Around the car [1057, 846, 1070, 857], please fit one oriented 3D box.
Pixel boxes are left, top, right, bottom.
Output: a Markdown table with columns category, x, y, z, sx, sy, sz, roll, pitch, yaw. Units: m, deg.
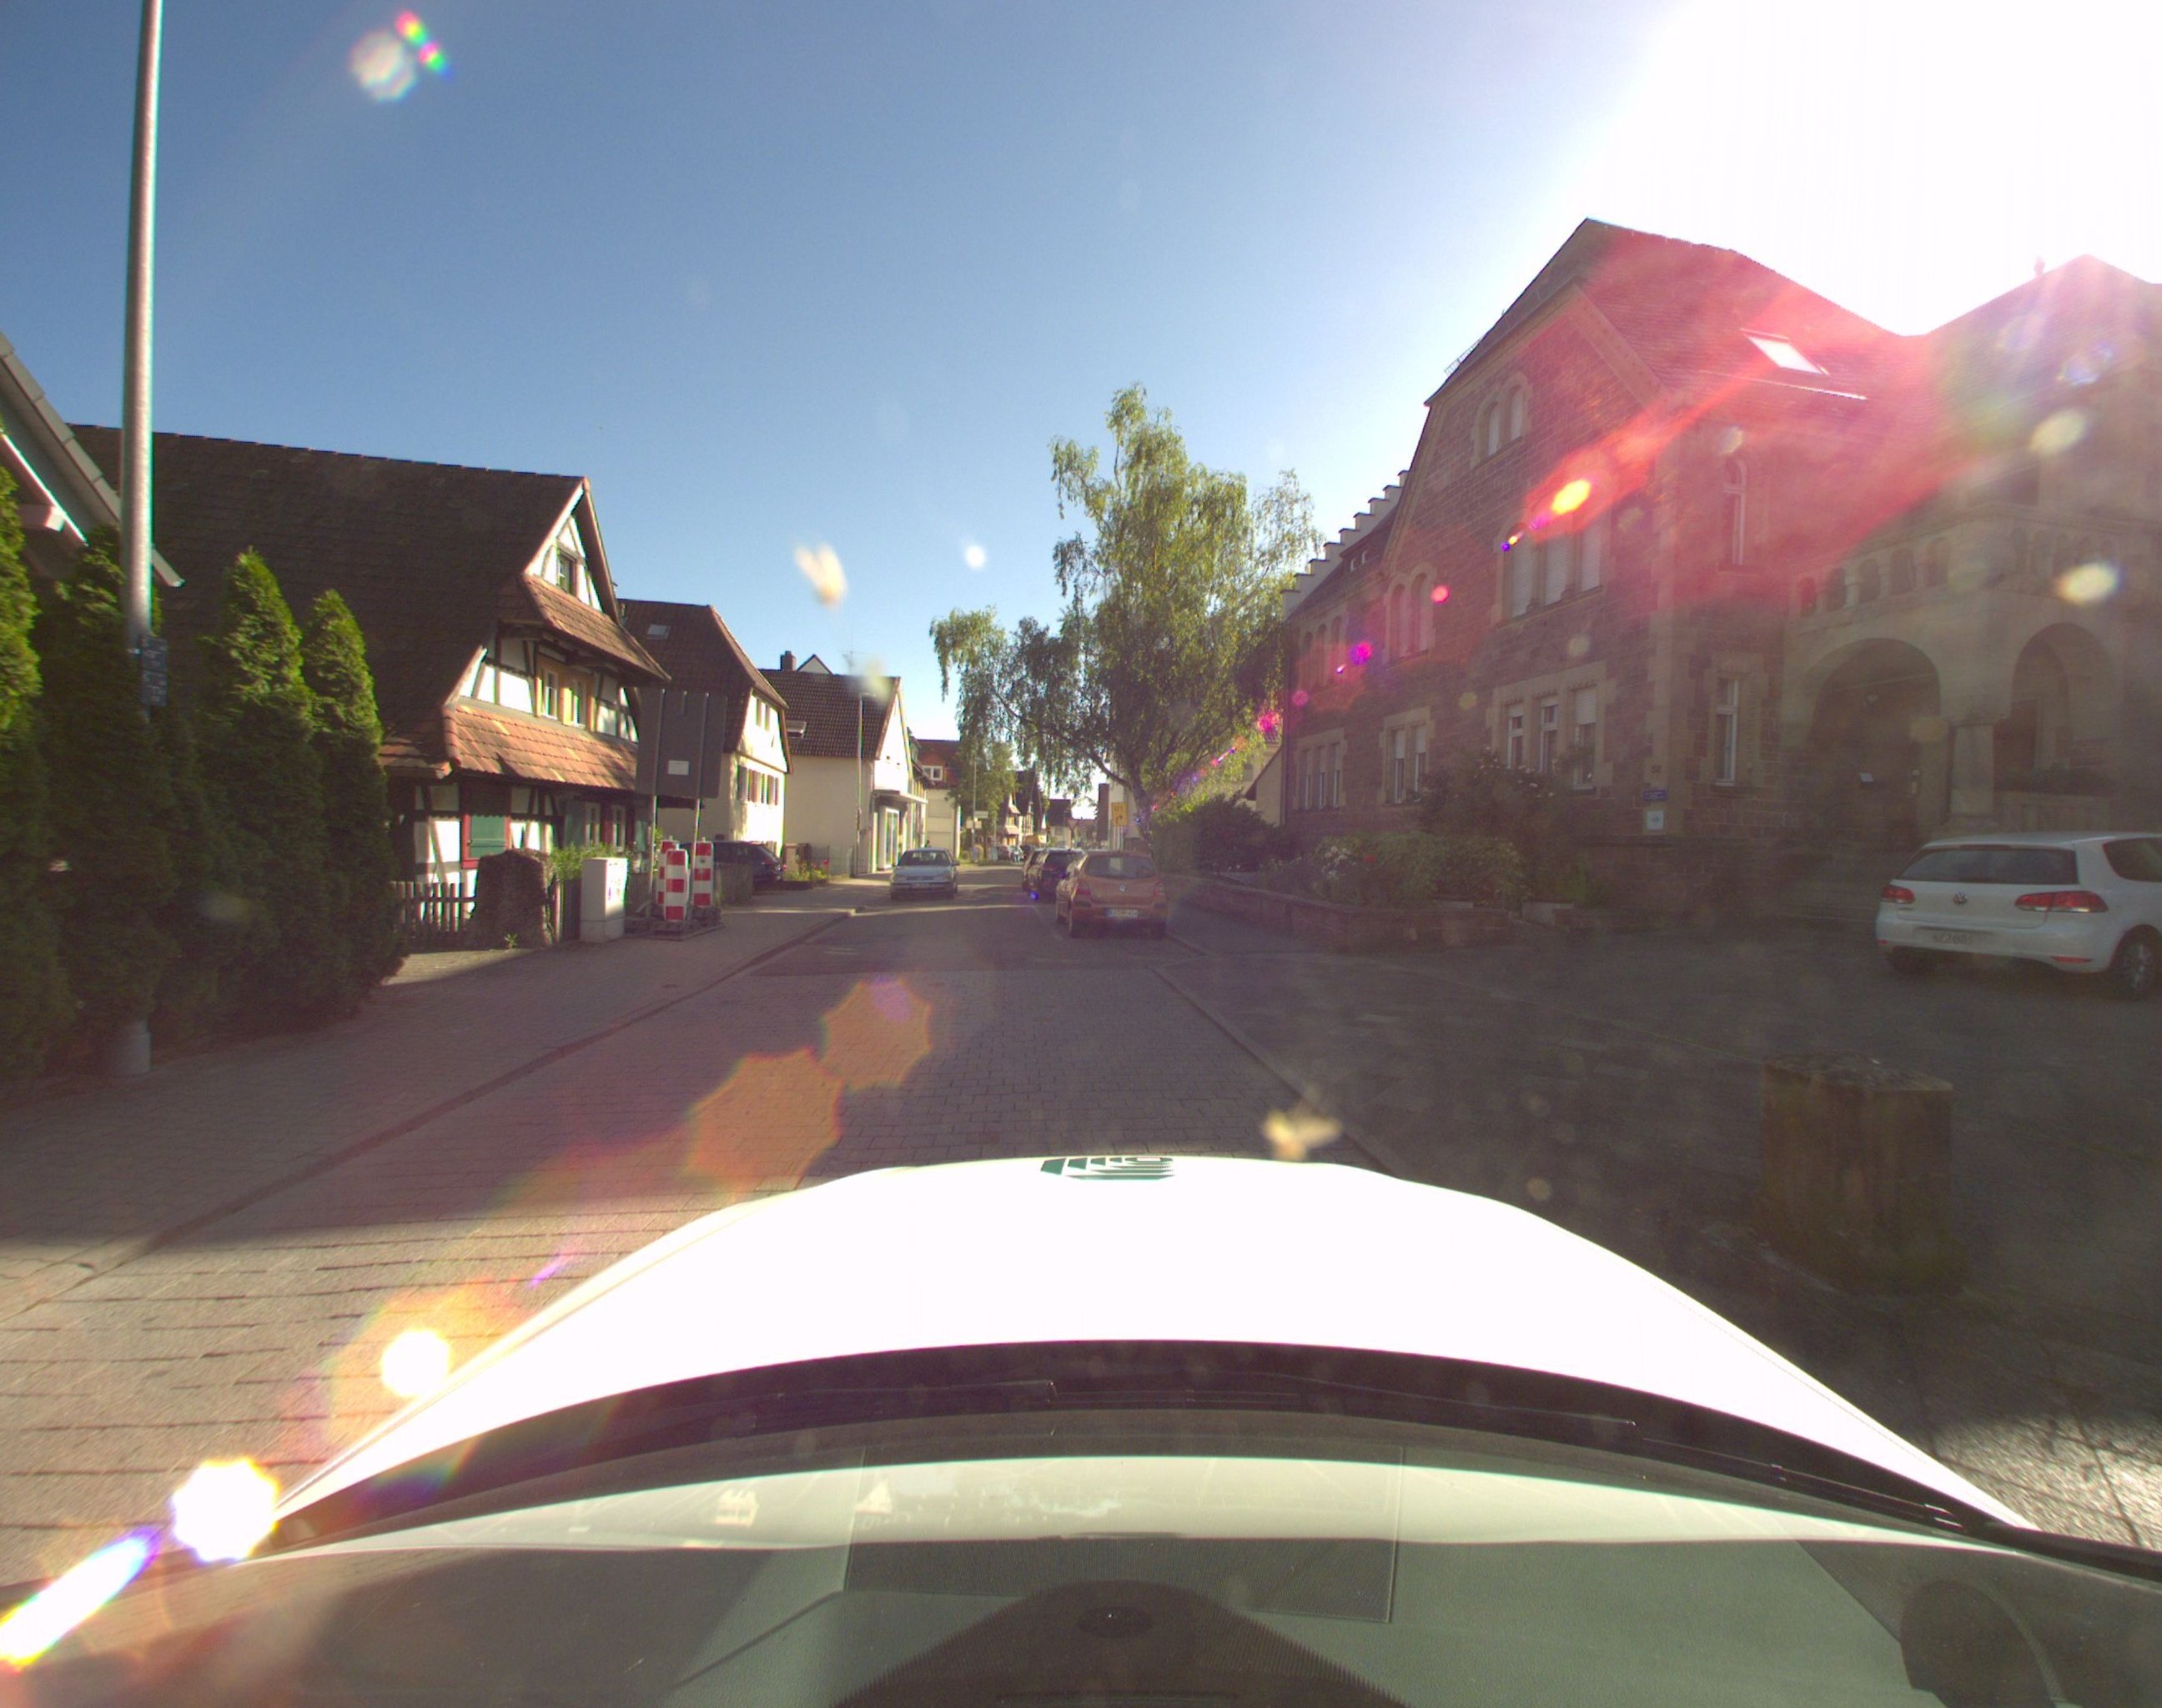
| category | x | y | z | sx | sy | sz | roll | pitch | yaw |
| --- | --- | --- | --- | --- | --- | --- | --- | --- | --- |
| car | -2.415 | -0.402 | 111.828 | 1.582 | 1.442 | 3.616 | 2 | 0 | 2 |

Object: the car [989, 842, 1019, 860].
| category | x | y | z | sx | sy | sz | roll | pitch | yaw |
| --- | --- | --- | --- | --- | --- | --- | --- | --- | --- |
| car | -6.632 | -0.248 | 70.741 | 1.859 | 1.505 | 4.113 | 2 | 0 | 5 |

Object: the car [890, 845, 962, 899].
| category | x | y | z | sx | sy | sz | roll | pitch | yaw |
| --- | --- | --- | --- | --- | --- | --- | --- | --- | --- |
| car | -4.397 | 0.471 | 23.561 | 1.668 | 1.402 | 3.885 | 0 | 1 | -6 |

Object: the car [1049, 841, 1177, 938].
| category | x | y | z | sx | sy | sz | roll | pitch | yaw |
| --- | --- | --- | --- | --- | --- | --- | --- | --- | --- |
| car | 0.439 | 0.541 | 14.918 | 1.647 | 1.478 | 3.923 | 2 | 1 | -8 |

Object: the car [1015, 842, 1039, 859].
| category | x | y | z | sx | sy | sz | roll | pitch | yaw |
| --- | --- | --- | --- | --- | --- | --- | --- | --- | --- |
| car | -5.541 | -0.317 | 84.042 | 1.798 | 1.622 | 3.886 | 2 | 0 | 5 |

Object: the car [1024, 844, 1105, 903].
| category | x | y | z | sx | sy | sz | roll | pitch | yaw |
| --- | --- | --- | --- | --- | --- | --- | --- | --- | --- |
| car | -0.568 | 0.487 | 23.298 | 1.806 | 1.436 | 4.275 | 2 | 1 | -8 |

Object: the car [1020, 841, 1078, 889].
| category | x | y | z | sx | sy | sz | roll | pitch | yaw |
| --- | --- | --- | --- | --- | --- | --- | --- | --- | --- |
| car | -1.156 | 0.323 | 27.980 | 1.804 | 1.436 | 4.280 | 2 | 1 | -4 |

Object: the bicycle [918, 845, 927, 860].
| category | x | y | z | sx | sy | sz | roll | pitch | yaw |
| --- | --- | --- | --- | --- | --- | --- | --- | --- | --- |
| bicycle | -11.328 | -0.114 | 58.374 | 0.422 | 1.052 | 1.379 | 1 | -1 | -4 |

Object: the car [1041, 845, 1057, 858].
| category | x | y | z | sx | sy | sz | roll | pitch | yaw |
| --- | --- | --- | --- | --- | --- | --- | --- | --- | --- |
| car | -3.836 | -0.296 | 98.588 | 1.639 | 1.432 | 3.616 | 2 | 0 | 2 |

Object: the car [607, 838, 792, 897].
| category | x | y | z | sx | sy | sz | roll | pitch | yaw |
| --- | --- | --- | --- | --- | --- | --- | --- | --- | --- |
| car | -10.224 | 0.328 | 22.146 | 4.159 | 1.462 | 1.842 | -1 | 1 | -11 |

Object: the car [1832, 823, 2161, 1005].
| category | x | y | z | sx | sy | sz | roll | pitch | yaw |
| --- | --- | --- | --- | --- | --- | --- | --- | --- | --- |
| car | 10.193 | 0.469 | 8.290 | 3.903 | 1.496 | 1.896 | -2 | 0 | -14 |

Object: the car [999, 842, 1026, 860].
| category | x | y | z | sx | sy | sz | roll | pitch | yaw |
| --- | --- | --- | --- | --- | --- | --- | --- | --- | --- |
| car | -6.279 | -0.268 | 75.125 | 1.798 | 1.505 | 4.113 | 2 | 0 | 5 |

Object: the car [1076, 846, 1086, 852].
| category | x | y | z | sx | sy | sz | roll | pitch | yaw |
| --- | --- | --- | --- | --- | --- | --- | --- | --- | --- |
| car | -0.001 | -1.243 | 204.610 | 1.973 | 1.583 | 3.982 | 2 | 0 | -10 |

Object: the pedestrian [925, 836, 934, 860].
| category | x | y | z | sx | sy | sz | roll | pitch | yaw |
| --- | --- | --- | --- | --- | --- | --- | --- | --- | --- |
| pedestrian | -10.912 | -0.451 | 58.570 | 0.482 | 1.693 | 0.556 | 2 | -2 | 0 |

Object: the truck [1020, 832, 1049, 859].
| category | x | y | z | sx | sy | sz | roll | pitch | yaw |
| --- | --- | --- | --- | --- | --- | --- | --- | --- | --- |
| truck | -5.030 | -0.907 | 89.517 | 2.257 | 2.868 | 5.790 | 2 | 0 | 5 |

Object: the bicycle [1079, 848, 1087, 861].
| category | x | y | z | sx | sy | sz | roll | pitch | yaw |
| --- | --- | --- | --- | --- | --- | --- | --- | --- | --- |
| bicycle | 0.167 | 0.046 | 72.340 | 0.431 | 1.176 | 1.833 | 2 | 0 | 8 |
